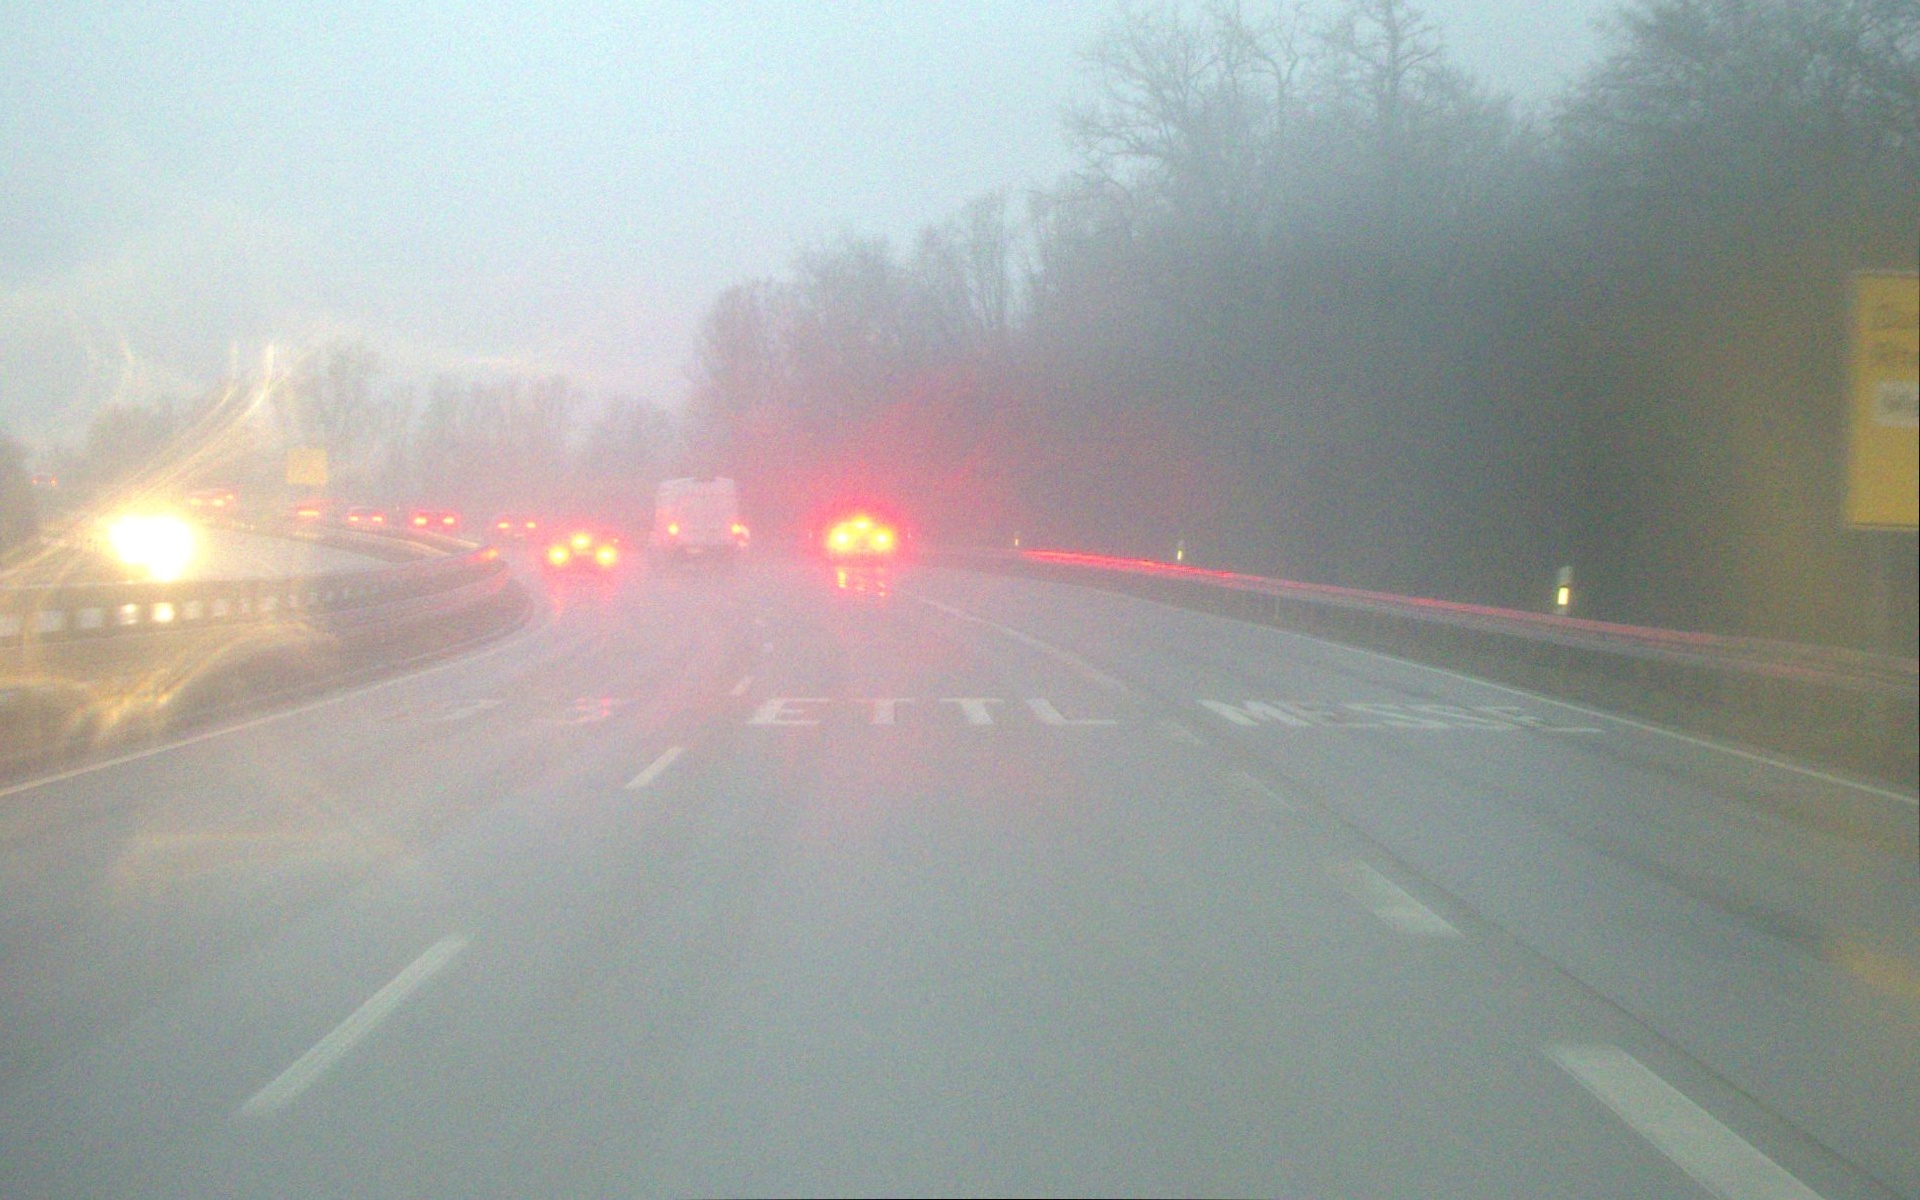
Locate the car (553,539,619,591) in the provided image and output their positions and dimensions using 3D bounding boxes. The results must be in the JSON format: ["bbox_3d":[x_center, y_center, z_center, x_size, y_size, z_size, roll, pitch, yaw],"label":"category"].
[{"bbox_3d":[-10.063,-0.947,92.631,1.416,1.312,3.083,2,1,0],"label":"car"}]
